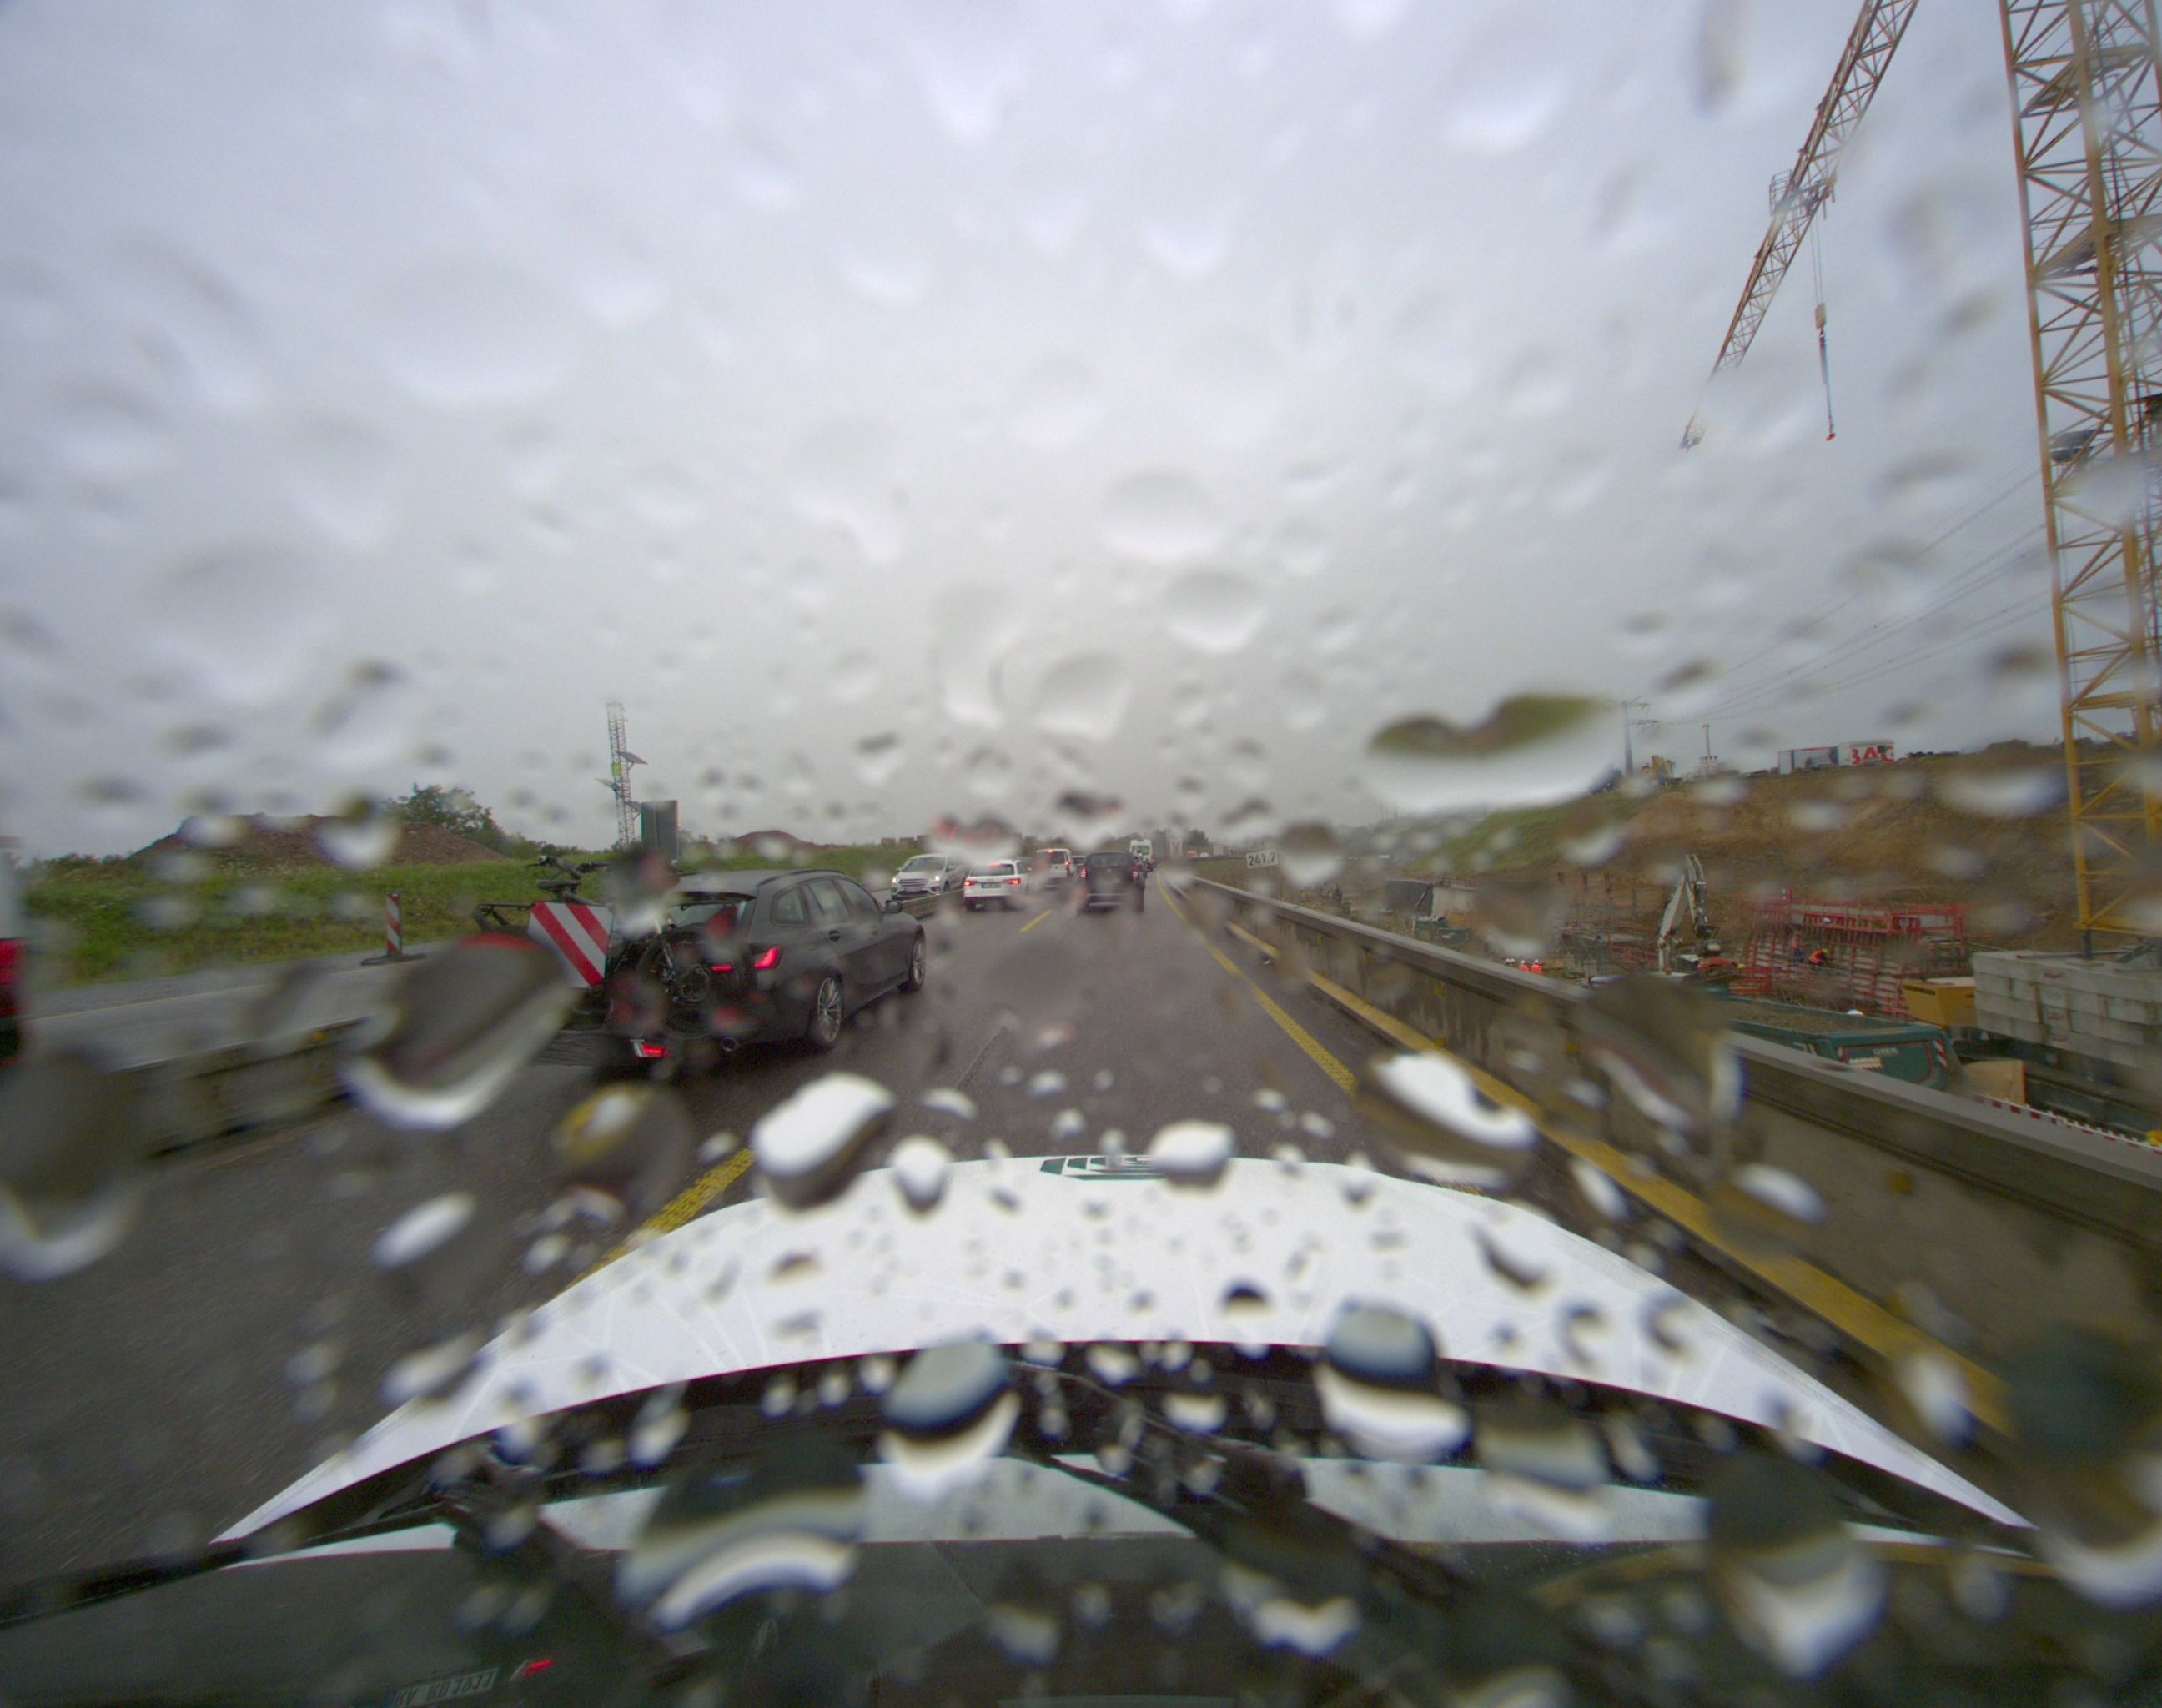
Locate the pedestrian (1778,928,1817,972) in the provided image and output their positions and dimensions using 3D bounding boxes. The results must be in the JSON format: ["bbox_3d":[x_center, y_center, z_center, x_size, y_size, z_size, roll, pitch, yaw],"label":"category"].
[{"bbox_3d":[36.478,4.866,41.477,0.898,1.999,0.901,9,0,9],"label":"pedestrian"}]

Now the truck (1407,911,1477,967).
[{"bbox_3d":[27.683,6.393,62.920,2.714,3.491,9.087,-1,-1,9],"label":"truck"}]

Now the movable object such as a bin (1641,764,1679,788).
[{"bbox_3d":[69.421,-9.324,97.726,2.413,2.443,3.982,-1,1,12],"label":"movable object such as a bin"}]

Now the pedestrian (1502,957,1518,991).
[{"bbox_3d":[24.962,6.988,47.389,0.570,1.869,0.737,-1,-1,11],"label":"pedestrian"}]

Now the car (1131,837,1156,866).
[{"bbox_3d":[5.644,-0.186,73.009,1.815,2.437,4.170,-1,-1,11],"label":"car"}]

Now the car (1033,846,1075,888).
[{"bbox_3d":[-1.213,0.607,38.206,1.820,1.815,4.000,-1,-1,0],"label":"car"}]

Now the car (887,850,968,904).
[{"bbox_3d":[-5.194,0.736,28.160,1.783,1.723,4.290,-1,0,2],"label":"car"}]

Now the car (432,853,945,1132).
[{"bbox_3d":[-2.735,0.800,7.501,1.728,1.462,5.634,-1,1,3],"label":"car"}]

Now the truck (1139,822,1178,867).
[{"bbox_3d":[9.467,-1.020,97.933,3.520,5.077,10.474,-1,-1,12],"label":"truck"}]

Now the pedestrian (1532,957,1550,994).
[{"bbox_3d":[25.930,6.860,45.911,0.726,1.944,0.579,-2,-1,42],"label":"pedestrian"}]

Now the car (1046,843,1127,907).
[{"bbox_3d":[0.238,0.557,22.528,1.817,1.591,4.007,-1,-1,6],"label":"car"}]

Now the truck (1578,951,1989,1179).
[{"bbox_3d":[16.577,4.699,20.539,2.690,3.503,8.947,-1,-1,1],"label":"truck"}]

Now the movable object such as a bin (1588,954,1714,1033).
[{"bbox_3d":[23.198,5.651,33.317,3.135,2.738,2.972,-1,-1,4],"label":"movable object such as a bin"}]

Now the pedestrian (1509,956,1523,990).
[{"bbox_3d":[25.674,6.990,48.063,0.568,1.869,0.740,-2,-1,41],"label":"pedestrian"}]

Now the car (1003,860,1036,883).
[{"bbox_3d":[-3.995,1.117,53.272,1.603,1.443,4.464,-1,-1,3],"label":"car"}]

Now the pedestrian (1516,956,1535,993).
[{"bbox_3d":[25.395,6.874,46.551,0.576,1.944,0.729,0,-1,-24],"label":"pedestrian"}]

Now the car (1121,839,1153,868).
[{"bbox_3d":[3.659,0.000,52.731,1.817,1.815,4.007,-1,-1,6],"label":"car"}]

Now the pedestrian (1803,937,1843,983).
[{"bbox_3d":[36.199,5.154,39.731,0.898,1.999,0.901,9,0,9],"label":"pedestrian"}]

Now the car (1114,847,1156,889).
[{"bbox_3d":[2.465,0.622,37.632,1.818,1.815,4.003,-1,-1,3],"label":"car"}]

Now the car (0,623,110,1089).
[{"bbox_3d":[-7.003,0.051,1.945,2.016,2.548,5.960,-2,0,2],"label":"car"}]

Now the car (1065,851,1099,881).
[{"bbox_3d":[0.113,0.748,51.254,1.818,1.815,4.004,-1,-1,4],"label":"car"}]

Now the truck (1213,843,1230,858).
[{"bbox_3d":[37.682,-0.953,218.397,3.445,3.715,8.455,-2,0,17],"label":"truck"}]

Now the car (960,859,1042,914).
[{"bbox_3d":[-2.306,0.925,24.413,1.818,1.499,4.003,-1,-1,3],"label":"car"}]
